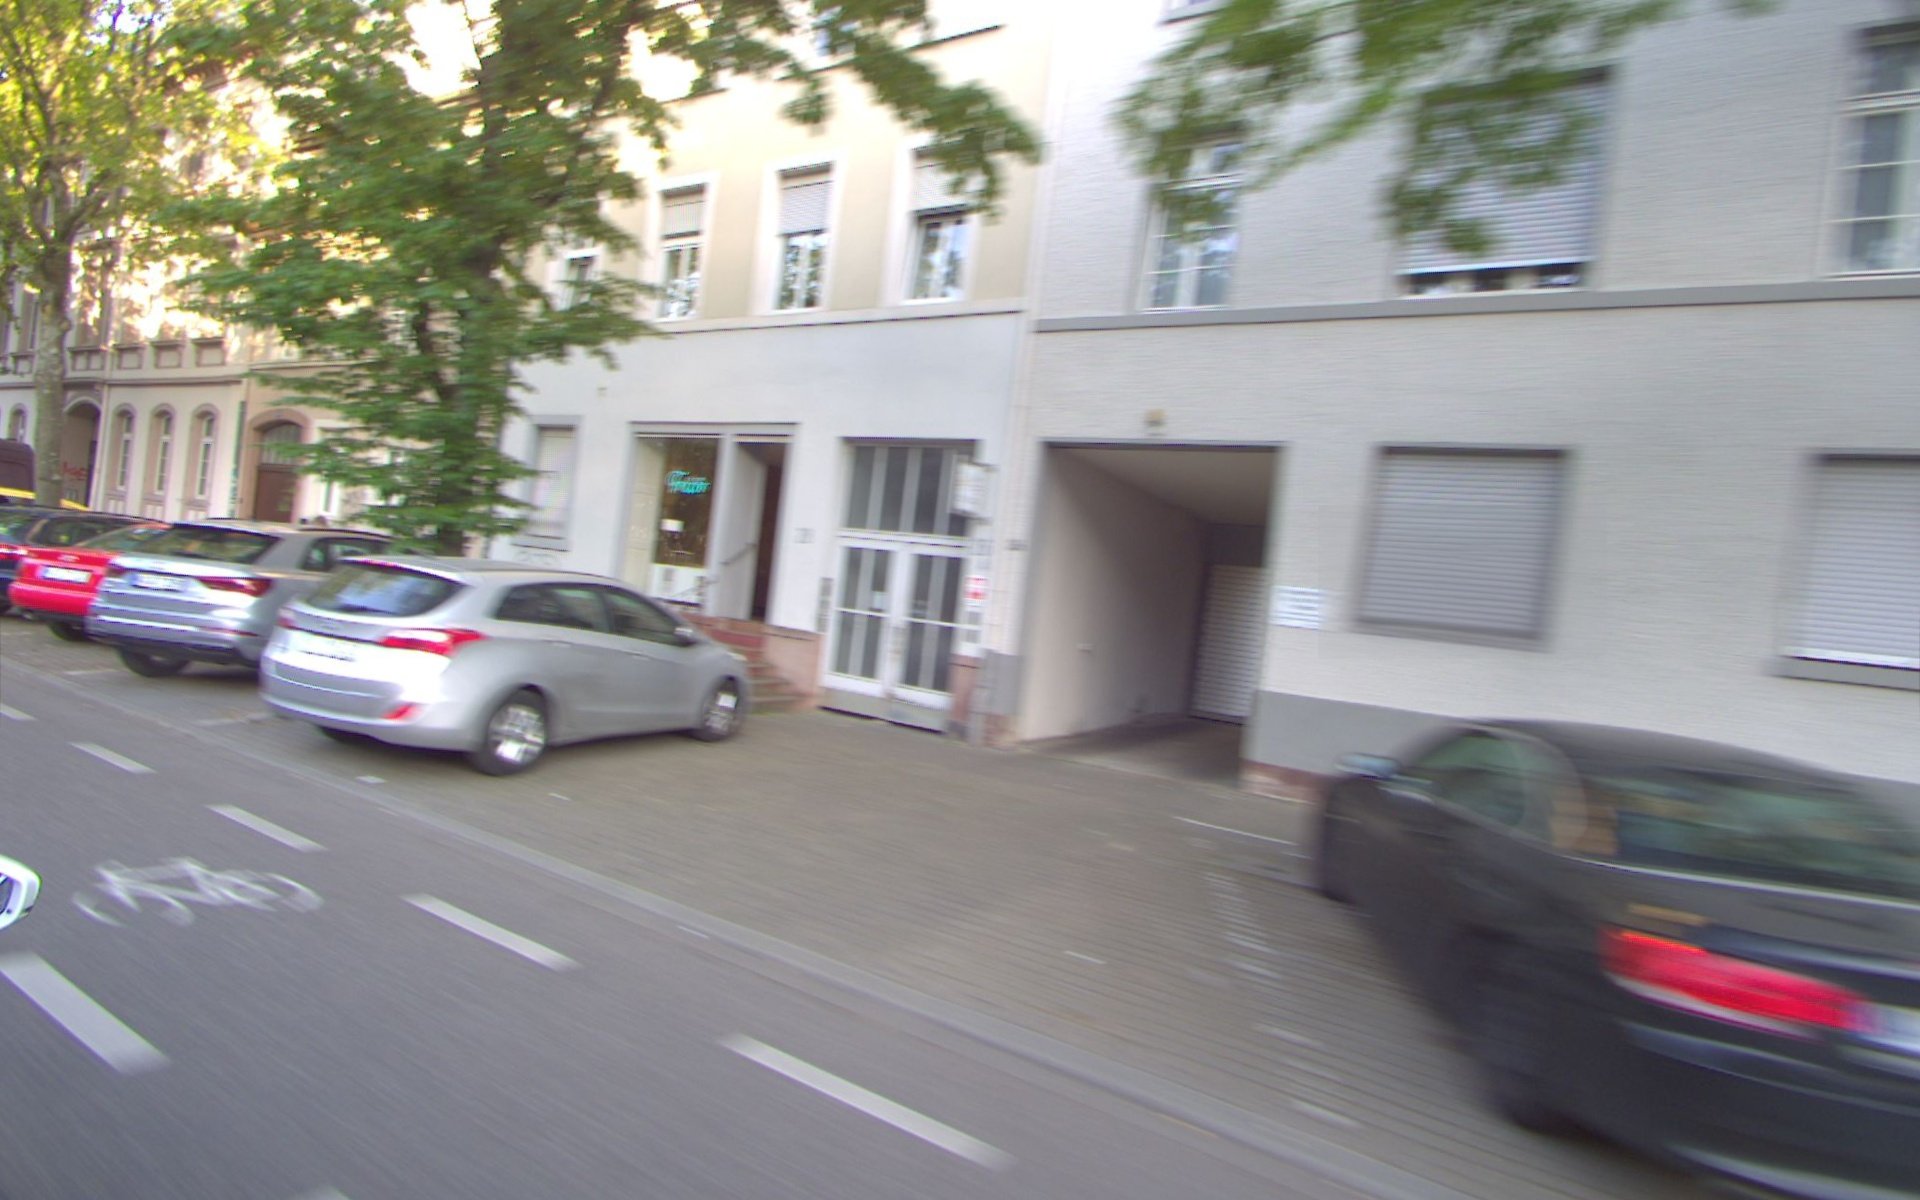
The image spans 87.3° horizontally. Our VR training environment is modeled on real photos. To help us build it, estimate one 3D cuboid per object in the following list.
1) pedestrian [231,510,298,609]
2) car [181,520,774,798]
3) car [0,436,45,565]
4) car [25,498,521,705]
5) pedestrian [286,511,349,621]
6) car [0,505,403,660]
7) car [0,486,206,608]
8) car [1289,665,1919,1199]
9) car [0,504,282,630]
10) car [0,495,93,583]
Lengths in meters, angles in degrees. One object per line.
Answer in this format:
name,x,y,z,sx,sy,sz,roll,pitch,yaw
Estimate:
pedestrian,-11.980,-0.702,17.328,0.800,1.587,0.538,7,0,33
car,-3.623,0.425,8.552,1.982,1.568,4.263,7,0,21
car,-21.788,-2.268,19.861,1.983,2.676,5.112,6,1,15
car,-6.835,0.037,10.714,1.861,1.580,4.265,6,0,9
pedestrian,-11.251,-0.589,17.612,0.597,1.836,0.566,7,0,31
car,-9.187,-0.177,12.459,1.861,1.443,4.135,6,0,6
car,-14.484,-0.886,15.637,1.889,1.640,3.953,6,0,32
car,2.993,1.223,4.590,1.977,1.409,4.265,6,0,8
car,-11.785,-0.446,13.737,1.884,1.443,4.135,6,0,6
car,-17.948,-1.208,17.528,1.884,1.505,3.964,6,0,8
